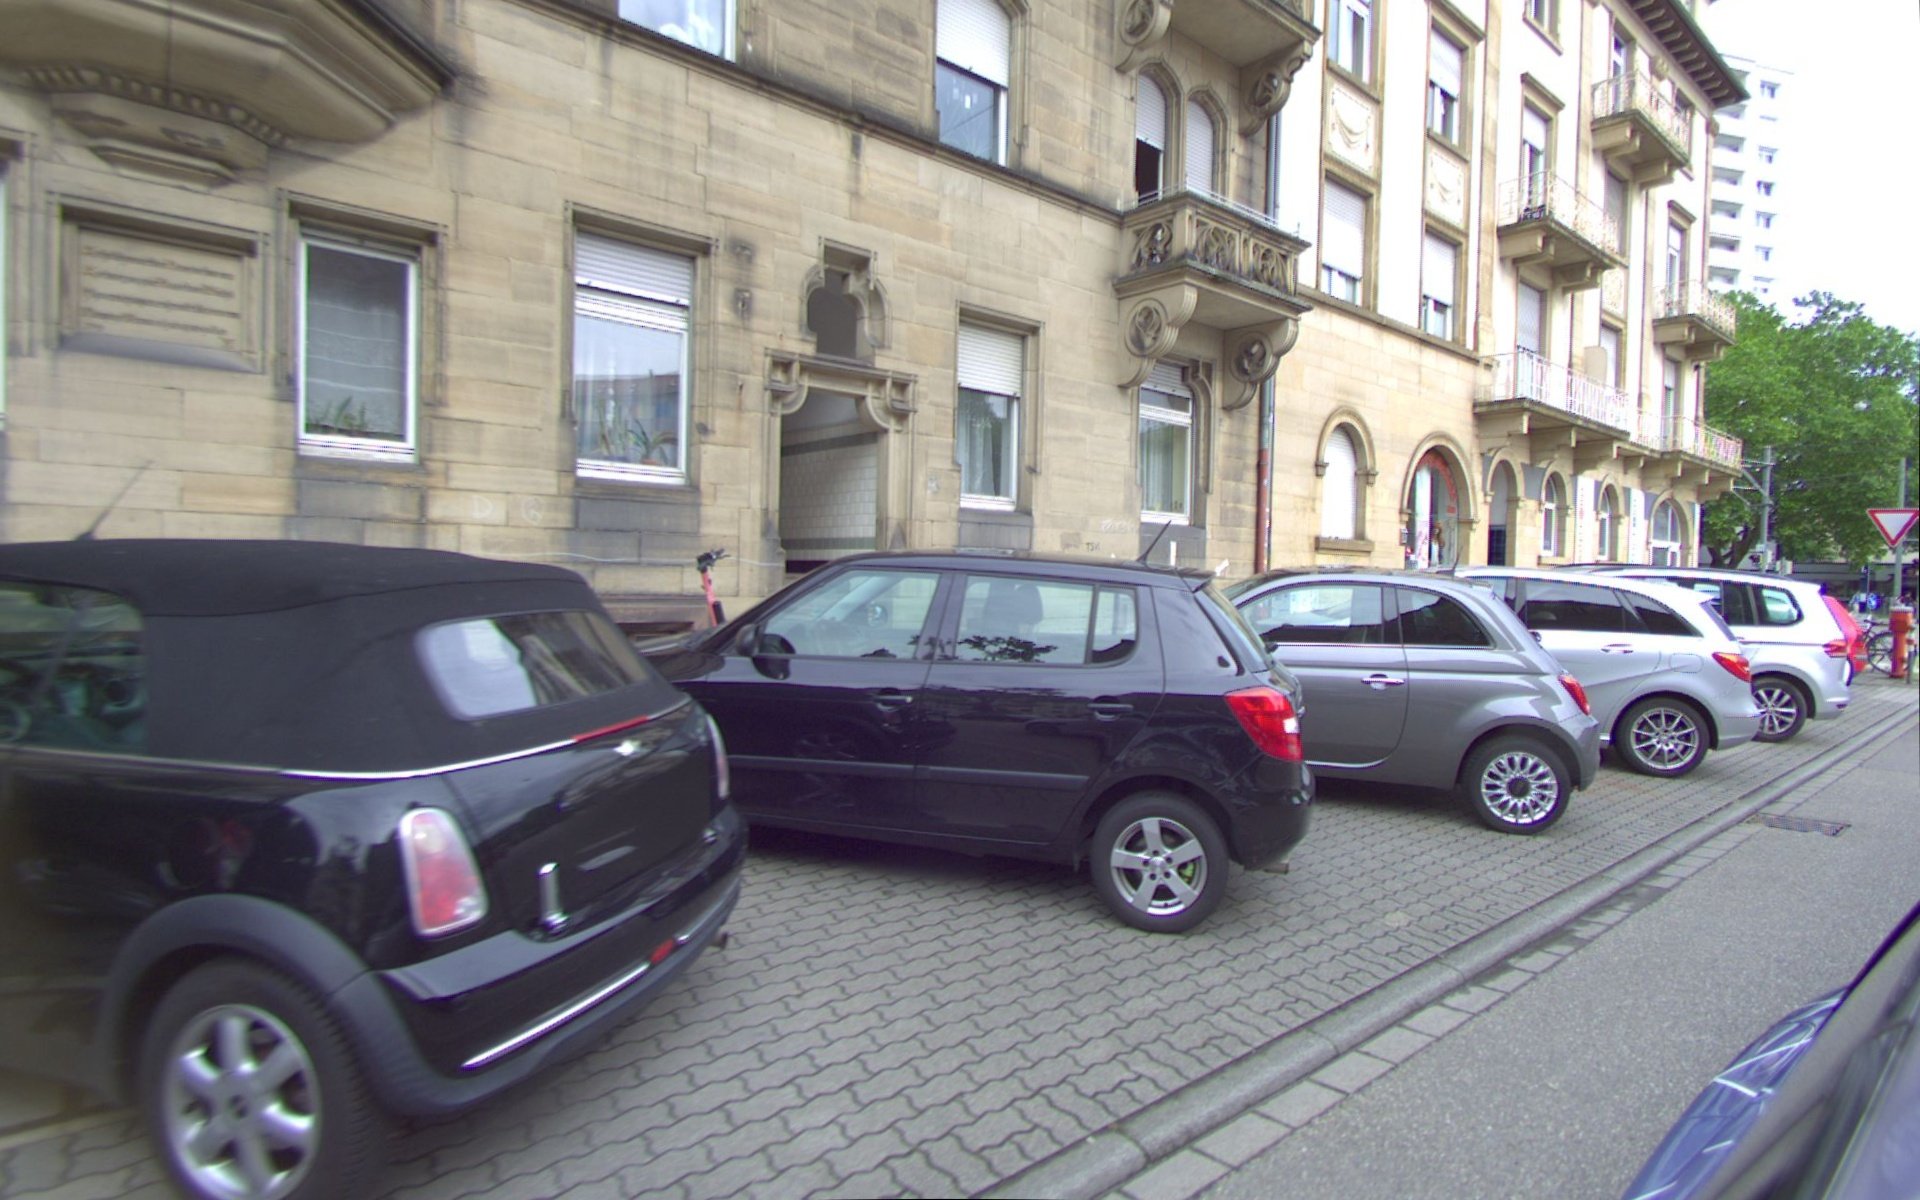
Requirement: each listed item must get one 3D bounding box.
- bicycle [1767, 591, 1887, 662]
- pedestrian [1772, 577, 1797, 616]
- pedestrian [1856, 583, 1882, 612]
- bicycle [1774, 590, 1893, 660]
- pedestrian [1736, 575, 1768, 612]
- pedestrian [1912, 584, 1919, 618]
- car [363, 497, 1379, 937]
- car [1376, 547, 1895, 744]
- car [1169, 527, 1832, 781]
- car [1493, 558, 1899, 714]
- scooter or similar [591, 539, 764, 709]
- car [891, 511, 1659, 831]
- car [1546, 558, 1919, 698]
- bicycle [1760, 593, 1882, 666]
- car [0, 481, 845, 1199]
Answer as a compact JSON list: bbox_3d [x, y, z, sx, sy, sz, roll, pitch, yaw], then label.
[{"bbox_3d":[16.004,0.463,18.714,0.468,1.140,1.571,-1,5,-40],"label":"bicycle"},{"bbox_3d":[38.176,-0.169,46.852,0.642,1.772,0.629,-1,1,-13],"label":"pedestrian"},{"bbox_3d":[48.110,-0.137,53.540,0.543,1.527,0.855,-1,1,-17],"label":"pedestrian"},{"bbox_3d":[16.397,0.448,19.023,0.468,1.140,1.571,-1,5,-40],"label":"bicycle"},{"bbox_3d":[36.765,-0.315,46.974,0.727,1.716,0.881,-1,1,-15],"label":"pedestrian"},{"bbox_3d":[46.861,0.034,49.429,0.522,1.632,0.519,1,2,43],"label":"pedestrian"},{"bbox_3d":[-0.438,0.365,5.148,4.396,1.571,1.846,2,2,12],"label":"car"},{"bbox_3d":[6.890,0.352,10.924,4.167,1.702,1.907,3,3,16],"label":"car"},{"bbox_3d":[4.303,0.307,8.965,4.683,1.705,1.929,3,3,14],"label":"car"},{"bbox_3d":[8.988,0.357,12.694,3.529,1.526,1.846,4,4,9],"label":"car"},{"bbox_3d":[-2.172,0.151,7.832,1.197,1.201,0.435,-2,8,-40],"label":"scooter or similar"},{"bbox_3d":[1.902,0.337,7.024,4.397,1.593,1.742,4,2,12],"label":"car"},{"bbox_3d":[10.946,0.338,14.601,3.766,1.579,1.794,4,4,4],"label":"car"},{"bbox_3d":[15.624,0.507,18.392,0.468,1.140,1.571,-1,5,-40],"label":"bicycle"},{"bbox_3d":[-2.634,0.404,3.334,4.009,1.470,2.026,5,4,12],"label":"car"}]
